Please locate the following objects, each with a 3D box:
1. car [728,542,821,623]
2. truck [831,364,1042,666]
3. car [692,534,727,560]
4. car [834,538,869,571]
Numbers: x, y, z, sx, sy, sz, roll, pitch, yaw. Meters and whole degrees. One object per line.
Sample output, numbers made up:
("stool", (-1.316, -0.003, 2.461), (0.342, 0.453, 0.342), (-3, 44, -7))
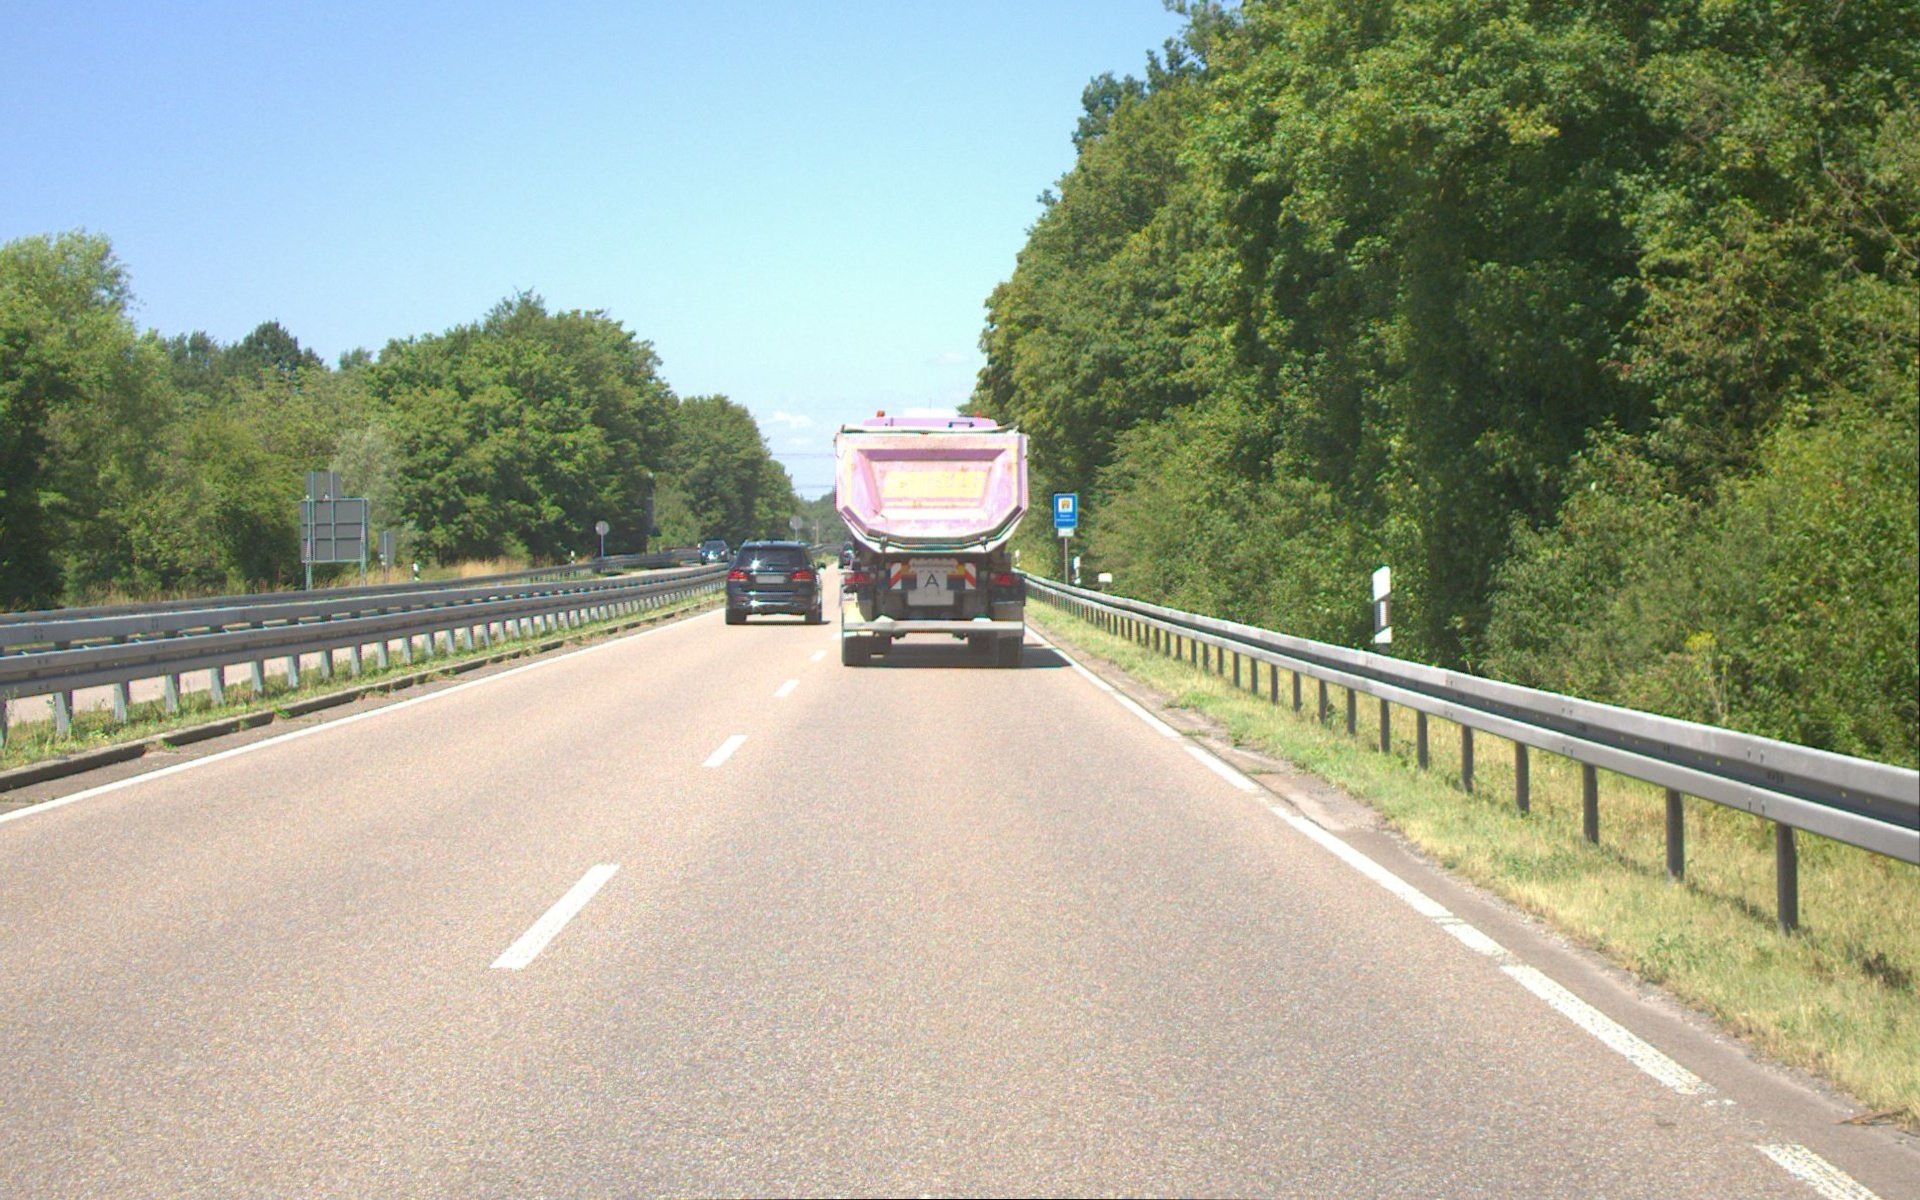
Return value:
("car", (-3.905, -0.341, 72.793), (1.857, 1.665, 4.000), (0, 0, -2))
("truck", (-0.454, -1.238, 50.814), (2.720, 3.916, 12.371), (0, 1, -1))
("car", (-16.775, -3.541, 230.532), (1.779, 1.614, 4.505), (-3, 1, 2))
("car", (-5.833, -2.446, 185.608), (1.857, 1.712, 4.000), (0, 0, -2))
